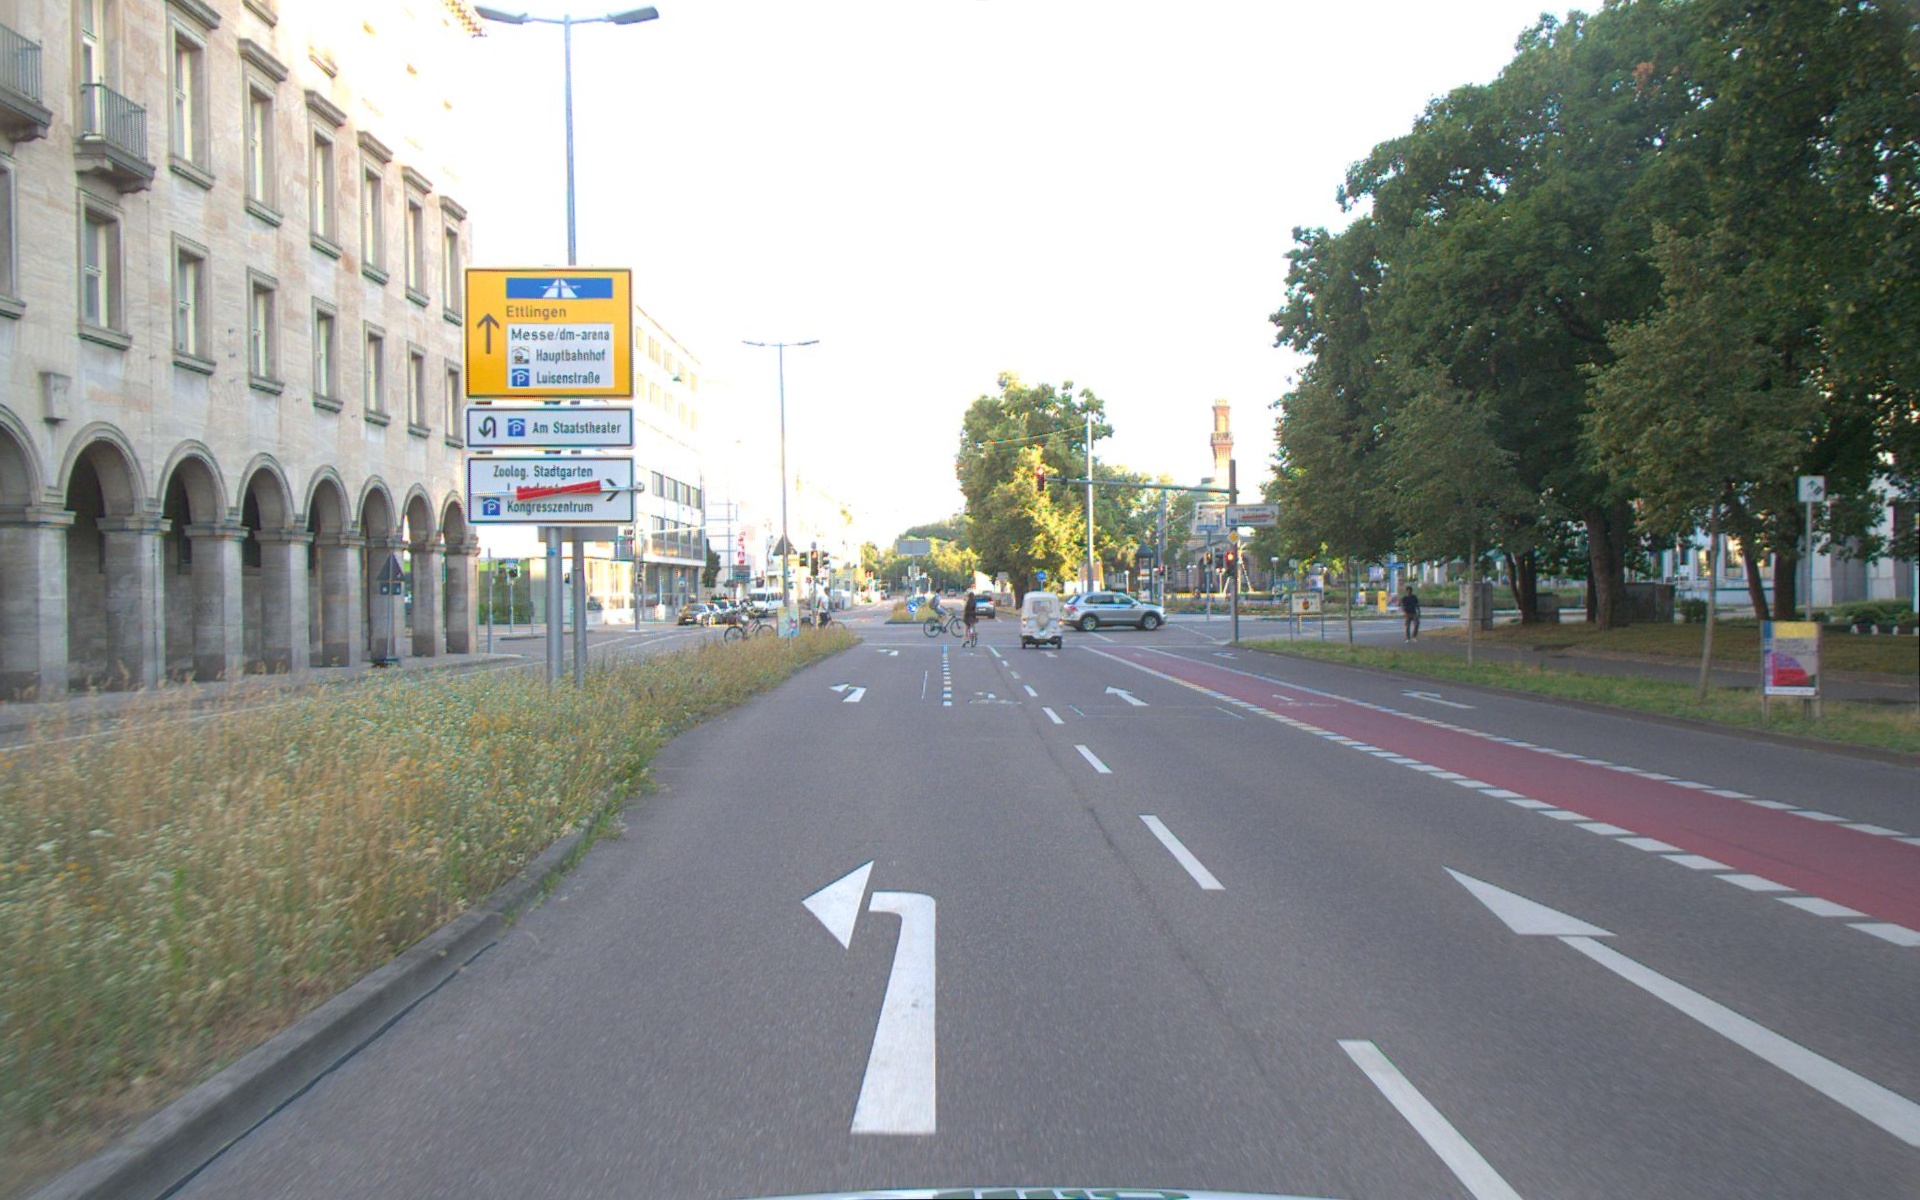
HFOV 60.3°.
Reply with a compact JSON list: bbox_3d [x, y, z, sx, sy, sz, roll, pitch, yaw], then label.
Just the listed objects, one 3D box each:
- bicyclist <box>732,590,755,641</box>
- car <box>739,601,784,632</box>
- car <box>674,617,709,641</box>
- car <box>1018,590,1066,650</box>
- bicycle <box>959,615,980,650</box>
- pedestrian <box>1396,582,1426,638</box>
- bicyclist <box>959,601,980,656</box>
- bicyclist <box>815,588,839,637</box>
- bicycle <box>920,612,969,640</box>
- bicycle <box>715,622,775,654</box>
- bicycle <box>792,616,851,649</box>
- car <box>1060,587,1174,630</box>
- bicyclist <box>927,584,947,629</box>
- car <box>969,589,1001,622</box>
[{"bbox_3d":[-7.476,0.543,57.161,0.731,1.723,0.714,-1,-1,-5],"label":"bicyclist"},{"bbox_3d":[-16.958,1.468,141.594,2.130,2.427,5.993,-2,-3,10],"label":"car"},{"bbox_3d":[-18.158,1.971,111.967,1.760,1.501,3.998,-1,-3,-1],"label":"car"},{"bbox_3d":[2.592,0.605,52.607,1.429,1.812,2.565,-1,1,2],"label":"car"},{"bbox_3d":[0.306,1.022,53.148,0.624,1.087,2.069,0,0,-1],"label":"bicycle"},{"bbox_3d":[14.014,0.317,51.421,0.681,1.723,0.748,-1,-1,-2],"label":"pedestrian"},{"bbox_3d":[0.294,0.909,52.833,0.615,1.723,0.748,-1,-1,-2],"label":"bicyclist"},{"bbox_3d":[-4.766,0.437,59.147,0.730,1.723,0.765,-1,-1,1],"label":"bicyclist"},{"bbox_3d":[-0.609,1.023,64.938,1.857,1.088,0.731,0,-1,2],"label":"bicycle"},{"bbox_3d":[-7.418,1.329,57.132,1.975,1.088,0.730,0,-2,-4],"label":"bicycle"},{"bbox_3d":[-4.936,1.157,59.134,2.015,1.087,0.787,-1,0,1],"label":"bicycle"},{"bbox_3d":[6.609,0.347,69.803,4.449,1.677,1.996,-1,0,-9],"label":"car"},{"bbox_3d":[-0.898,0.257,64.961,0.730,1.723,0.715,-1,-1,2],"label":"bicyclist"},{"bbox_3d":[1.628,0.346,108.928,1.953,2.049,3.999,-1,0,-2],"label":"car"}]
